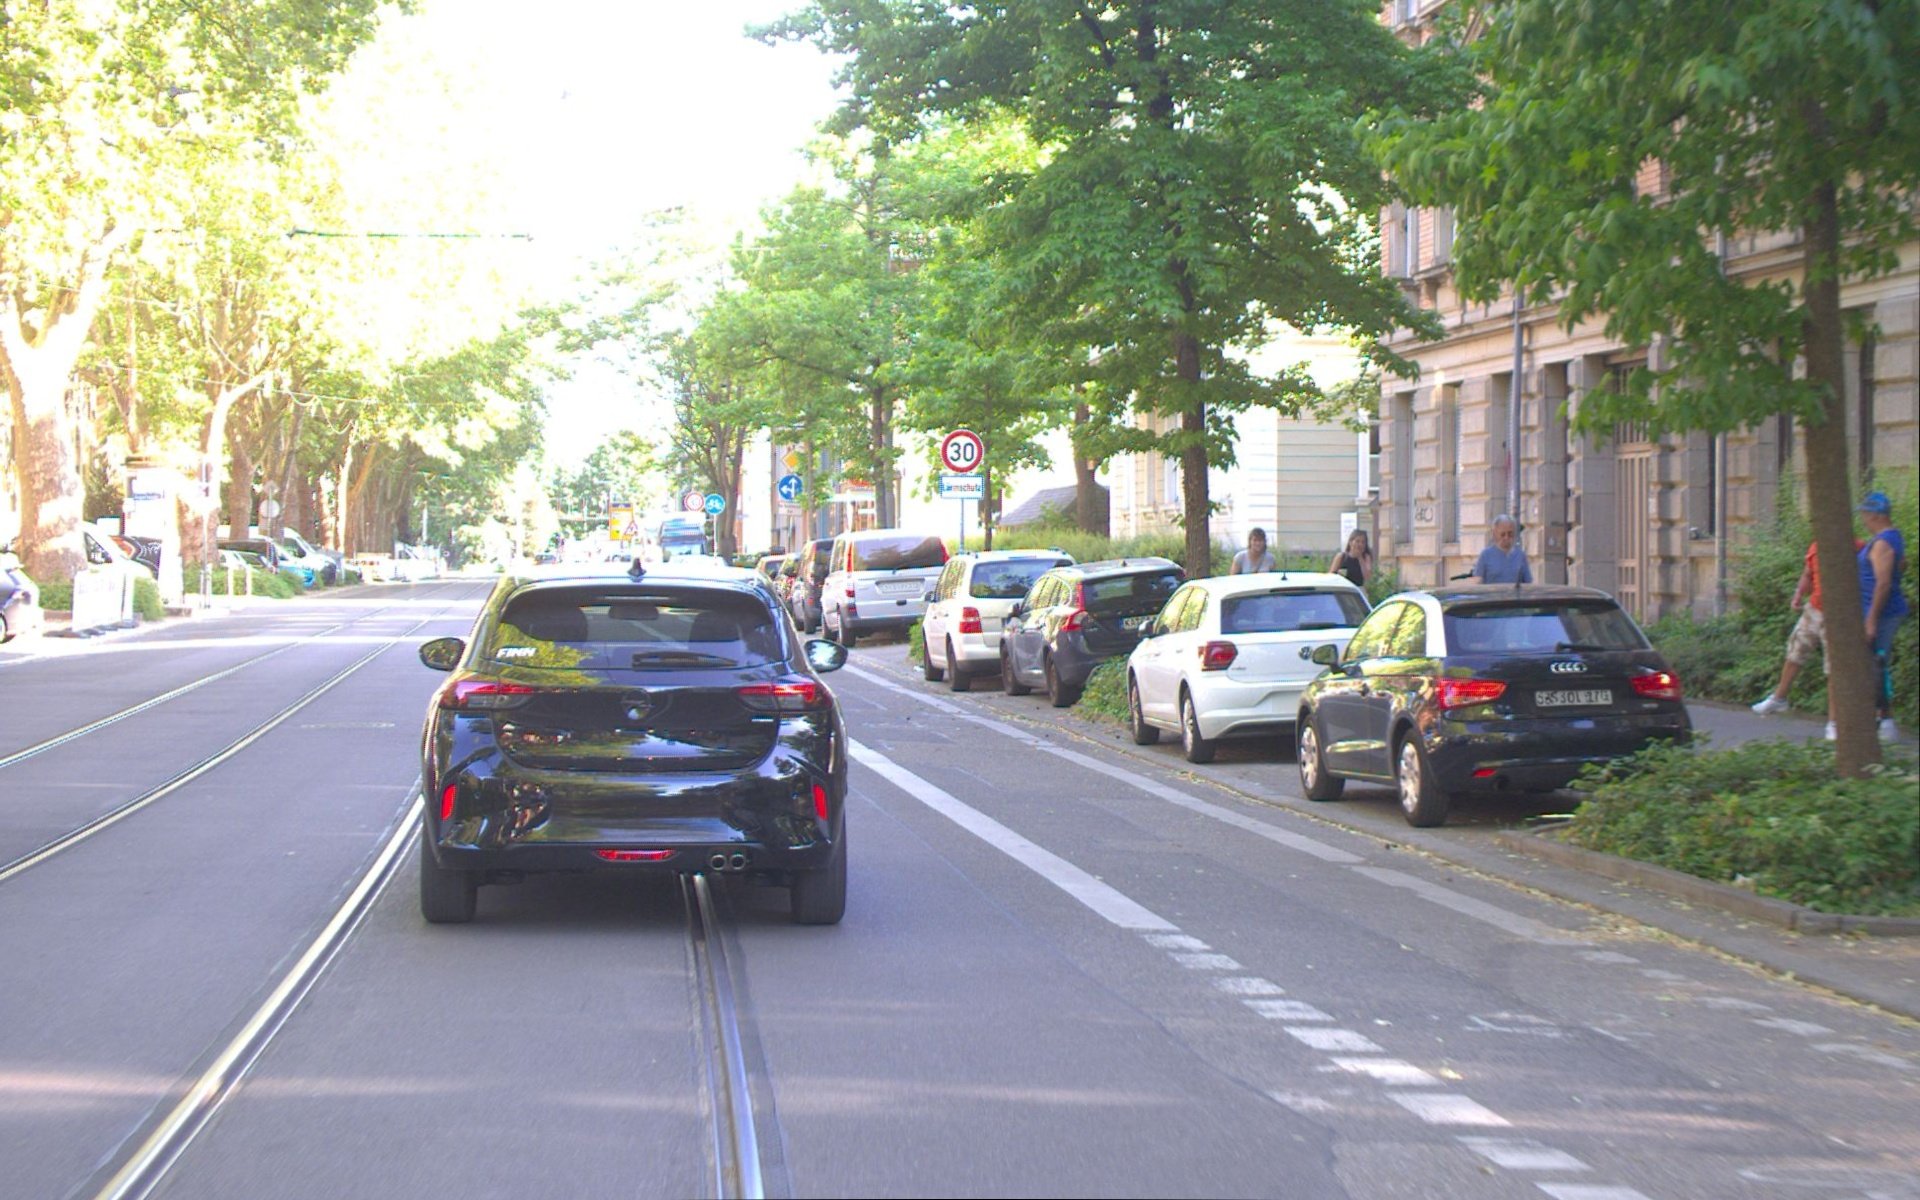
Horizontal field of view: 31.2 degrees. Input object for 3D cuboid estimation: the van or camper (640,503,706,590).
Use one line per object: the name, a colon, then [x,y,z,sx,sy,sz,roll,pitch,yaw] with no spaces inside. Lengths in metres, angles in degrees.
van or camper: [-10.952,-2.033,130.741,2.253,3.205,5.532,-1,1,-7]

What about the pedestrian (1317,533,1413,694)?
pedestrian: [4.357,0.140,37.060,0.726,1.703,0.856,1,0,-15]

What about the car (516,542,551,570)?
car: [-28.596,-2.959,230.479,2.253,1.834,5.532,-1,1,-7]

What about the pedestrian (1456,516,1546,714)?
pedestrian: [4.972,0.131,31.620,0.726,1.787,0.600,1,0,4]

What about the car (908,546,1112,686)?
car: [0.558,0.163,42.120,1.883,1.562,4.243,-2,1,-7]

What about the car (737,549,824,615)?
car: [-4.262,-0.436,81.130,1.702,1.418,3.979,-3,1,-7]

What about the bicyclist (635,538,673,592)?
bicyclist: [-8.597,-0.985,96.529,0.958,1.494,1.094,1,0,-8]

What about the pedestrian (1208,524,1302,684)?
pedestrian: [3.169,0.037,37.015,0.726,1.687,0.957,1,0,-12]

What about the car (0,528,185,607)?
car: [-20.792,-0.770,82.198,4.298,1.795,1.926,1,1,-9]

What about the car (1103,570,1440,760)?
car: [2.456,0.474,28.163,1.883,1.363,4.108,-2,1,-7]

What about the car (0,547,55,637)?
car: [-17.201,-0.172,57.055,3.986,1.460,1.854,1,0,-7]

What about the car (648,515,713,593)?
car: [-10.124,-1.680,124.230,2.084,2.762,4.698,-1,1,-7]

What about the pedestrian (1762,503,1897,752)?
pedestrian: [6.370,0.197,25.204,0.726,1.787,0.600,1,0,-13]

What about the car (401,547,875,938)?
car: [-1.452,0.523,15.017,1.763,1.455,3.951,1,0,-7]

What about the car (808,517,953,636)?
car: [-1.387,-0.412,57.791,1.883,1.845,4.968,-2,1,-7]

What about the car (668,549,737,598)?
car: [-8.028,-0.829,106.931,1.883,1.429,4.531,-2,1,-7]

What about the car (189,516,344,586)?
car: [-27.090,-1.912,134.463,5.638,2.584,2.196,1,0,-3]

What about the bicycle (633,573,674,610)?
bicycle: [-8.612,-0.257,96.564,0.967,0.995,2.584,1,0,-8]

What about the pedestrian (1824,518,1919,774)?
pedestrian: [6.614,0.323,24.508,0.598,1.787,0.728,1,0,-9]

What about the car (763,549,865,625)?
car: [-3.115,-0.298,72.612,1.711,1.509,4.038,-2,1,-8]

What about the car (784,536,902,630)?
car: [-2.314,-0.343,66.695,1.885,1.760,4.679,0,1,-7]

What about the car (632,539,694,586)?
car: [-11.933,-1.507,137.882,2.253,1.834,5.532,-1,1,-7]

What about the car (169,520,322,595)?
car: [-25.300,-1.515,121.870,5.035,2.366,2.082,-3,1,-6]

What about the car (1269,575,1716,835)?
car: [3.230,0.584,21.608,1.672,1.407,3.844,-2,1,-8]

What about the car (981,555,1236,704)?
car: [1.538,0.275,37.439,1.883,1.462,4.595,-2,1,-9]

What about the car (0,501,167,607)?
car: [-20.285,-1.036,76.384,5.031,2.251,2.086,1,1,-10]

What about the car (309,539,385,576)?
car: [-35.077,-2.424,196.873,3.987,2.007,2.000,1,0,0]
